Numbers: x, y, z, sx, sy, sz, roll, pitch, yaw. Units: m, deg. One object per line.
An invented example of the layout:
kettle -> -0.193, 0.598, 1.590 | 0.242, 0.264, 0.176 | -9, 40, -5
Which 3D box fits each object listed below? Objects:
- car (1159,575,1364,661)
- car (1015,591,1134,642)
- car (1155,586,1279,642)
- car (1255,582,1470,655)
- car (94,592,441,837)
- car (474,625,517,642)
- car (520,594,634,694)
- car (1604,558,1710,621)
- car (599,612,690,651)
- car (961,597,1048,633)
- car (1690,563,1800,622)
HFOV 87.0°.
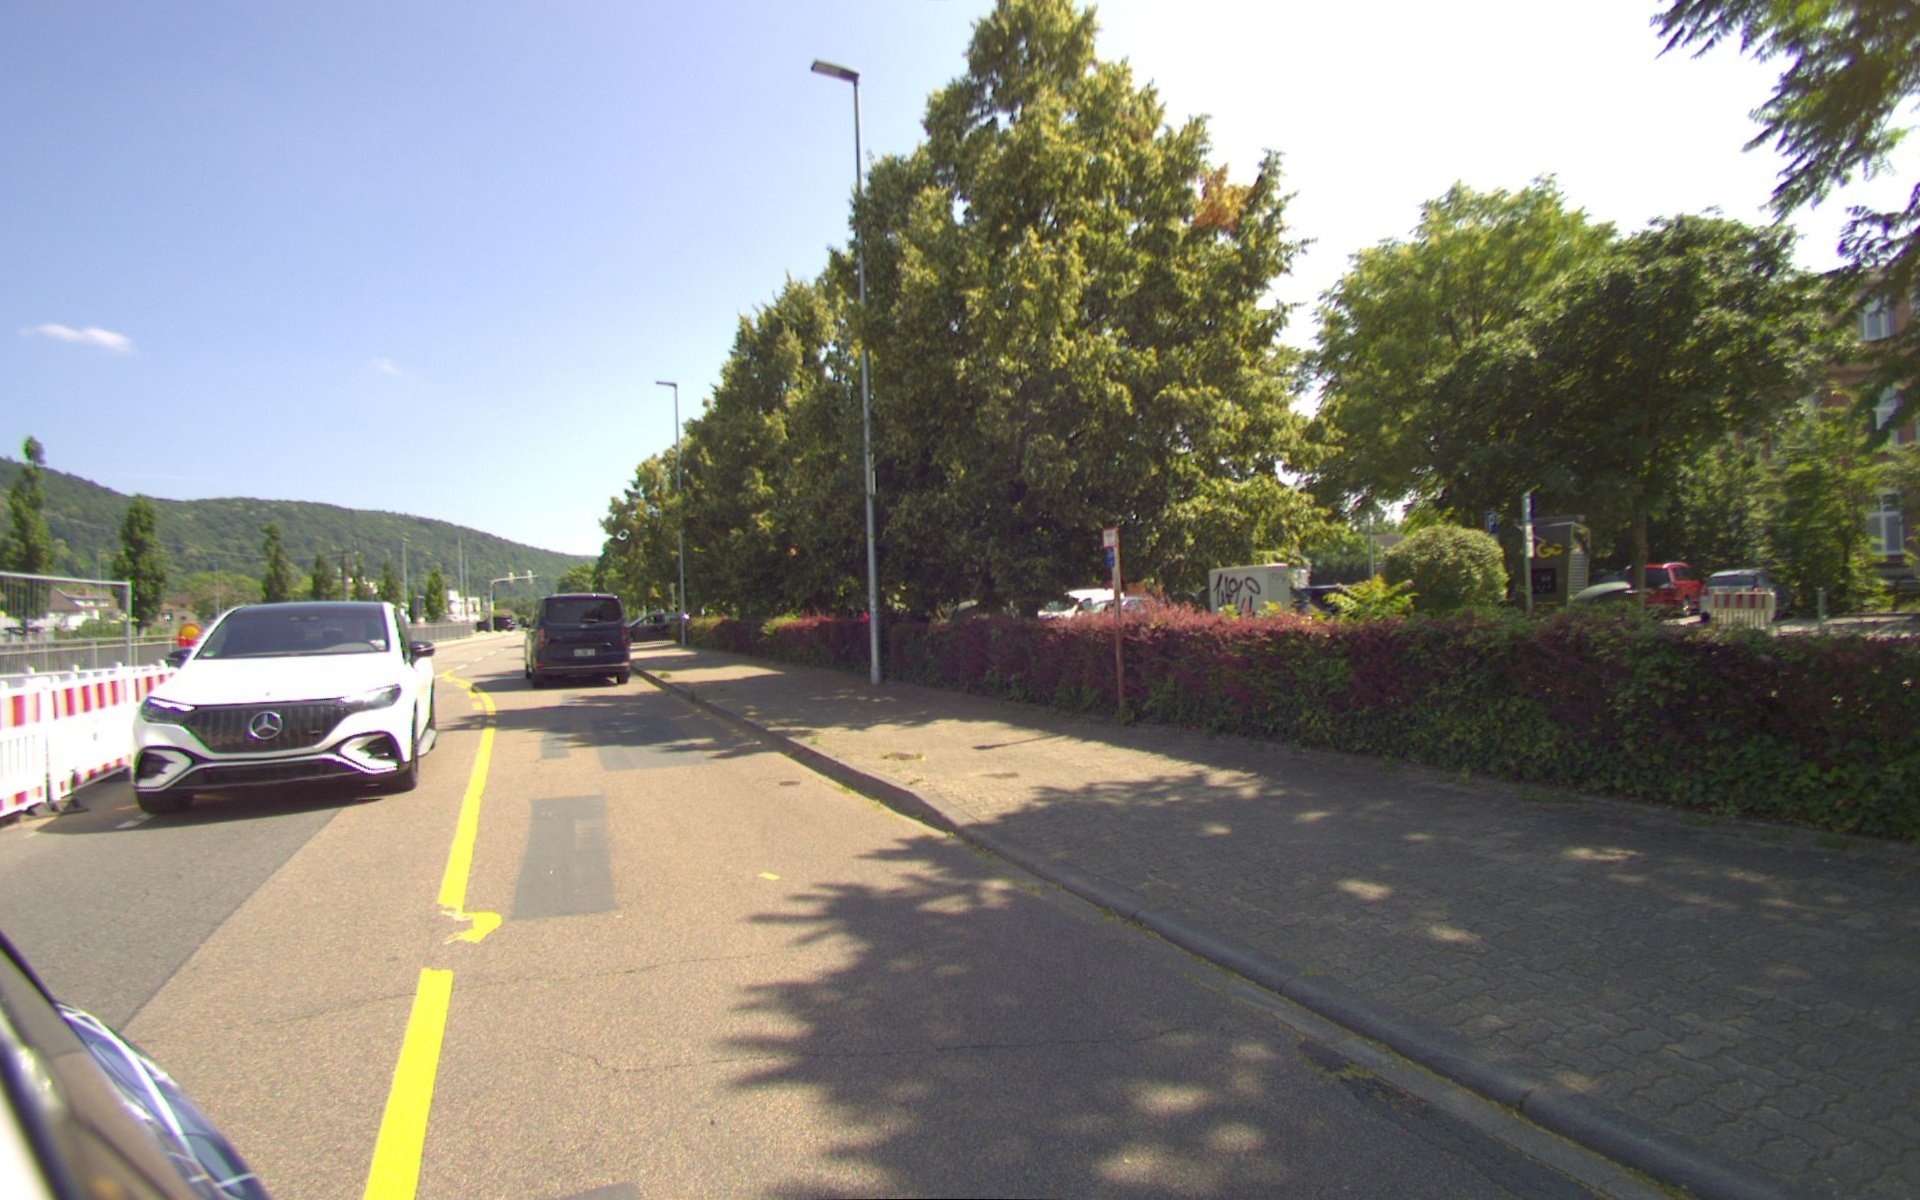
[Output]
car -> 6.440, 0.400, 22.155 | 1.830, 1.698, 4.381 | 0, -1, -25
car -> 4.239, 0.591, 37.046 | 4.244, 1.698, 1.865 | -2, -1, -40
car -> 8.740, 0.445, 34.242 | 4.299, 1.698, 1.865 | -2, -1, -41
car -> 8.886, 0.420, 22.760 | 1.830, 1.464, 4.381 | 0, -1, -25
car -> -6.216, 0.858, 9.759 | 1.965, 1.657, 5.047 | -2, -1, -26
car -> -50.613, 3.655, 110.271 | 4.508, 1.657, 1.981 | -2, -1, 29
car -> -8.796, 0.918, 23.067 | 2.146, 1.983, 5.462 | 1, -1, -22
car -> 22.835, -0.356, 33.109 | 3.938, 1.747, 1.777 | -3, -2, -40
car -> -14.900, 1.467, 47.833 | 3.932, 1.475, 1.887 | -5, 1, -19
car -> 2.109, 0.738, 48.759 | 1.890, 1.563, 4.149 | -2, 0, -39
car -> 22.980, -0.234, 29.569 | 3.939, 1.486, 1.776 | -3, -1, -42
